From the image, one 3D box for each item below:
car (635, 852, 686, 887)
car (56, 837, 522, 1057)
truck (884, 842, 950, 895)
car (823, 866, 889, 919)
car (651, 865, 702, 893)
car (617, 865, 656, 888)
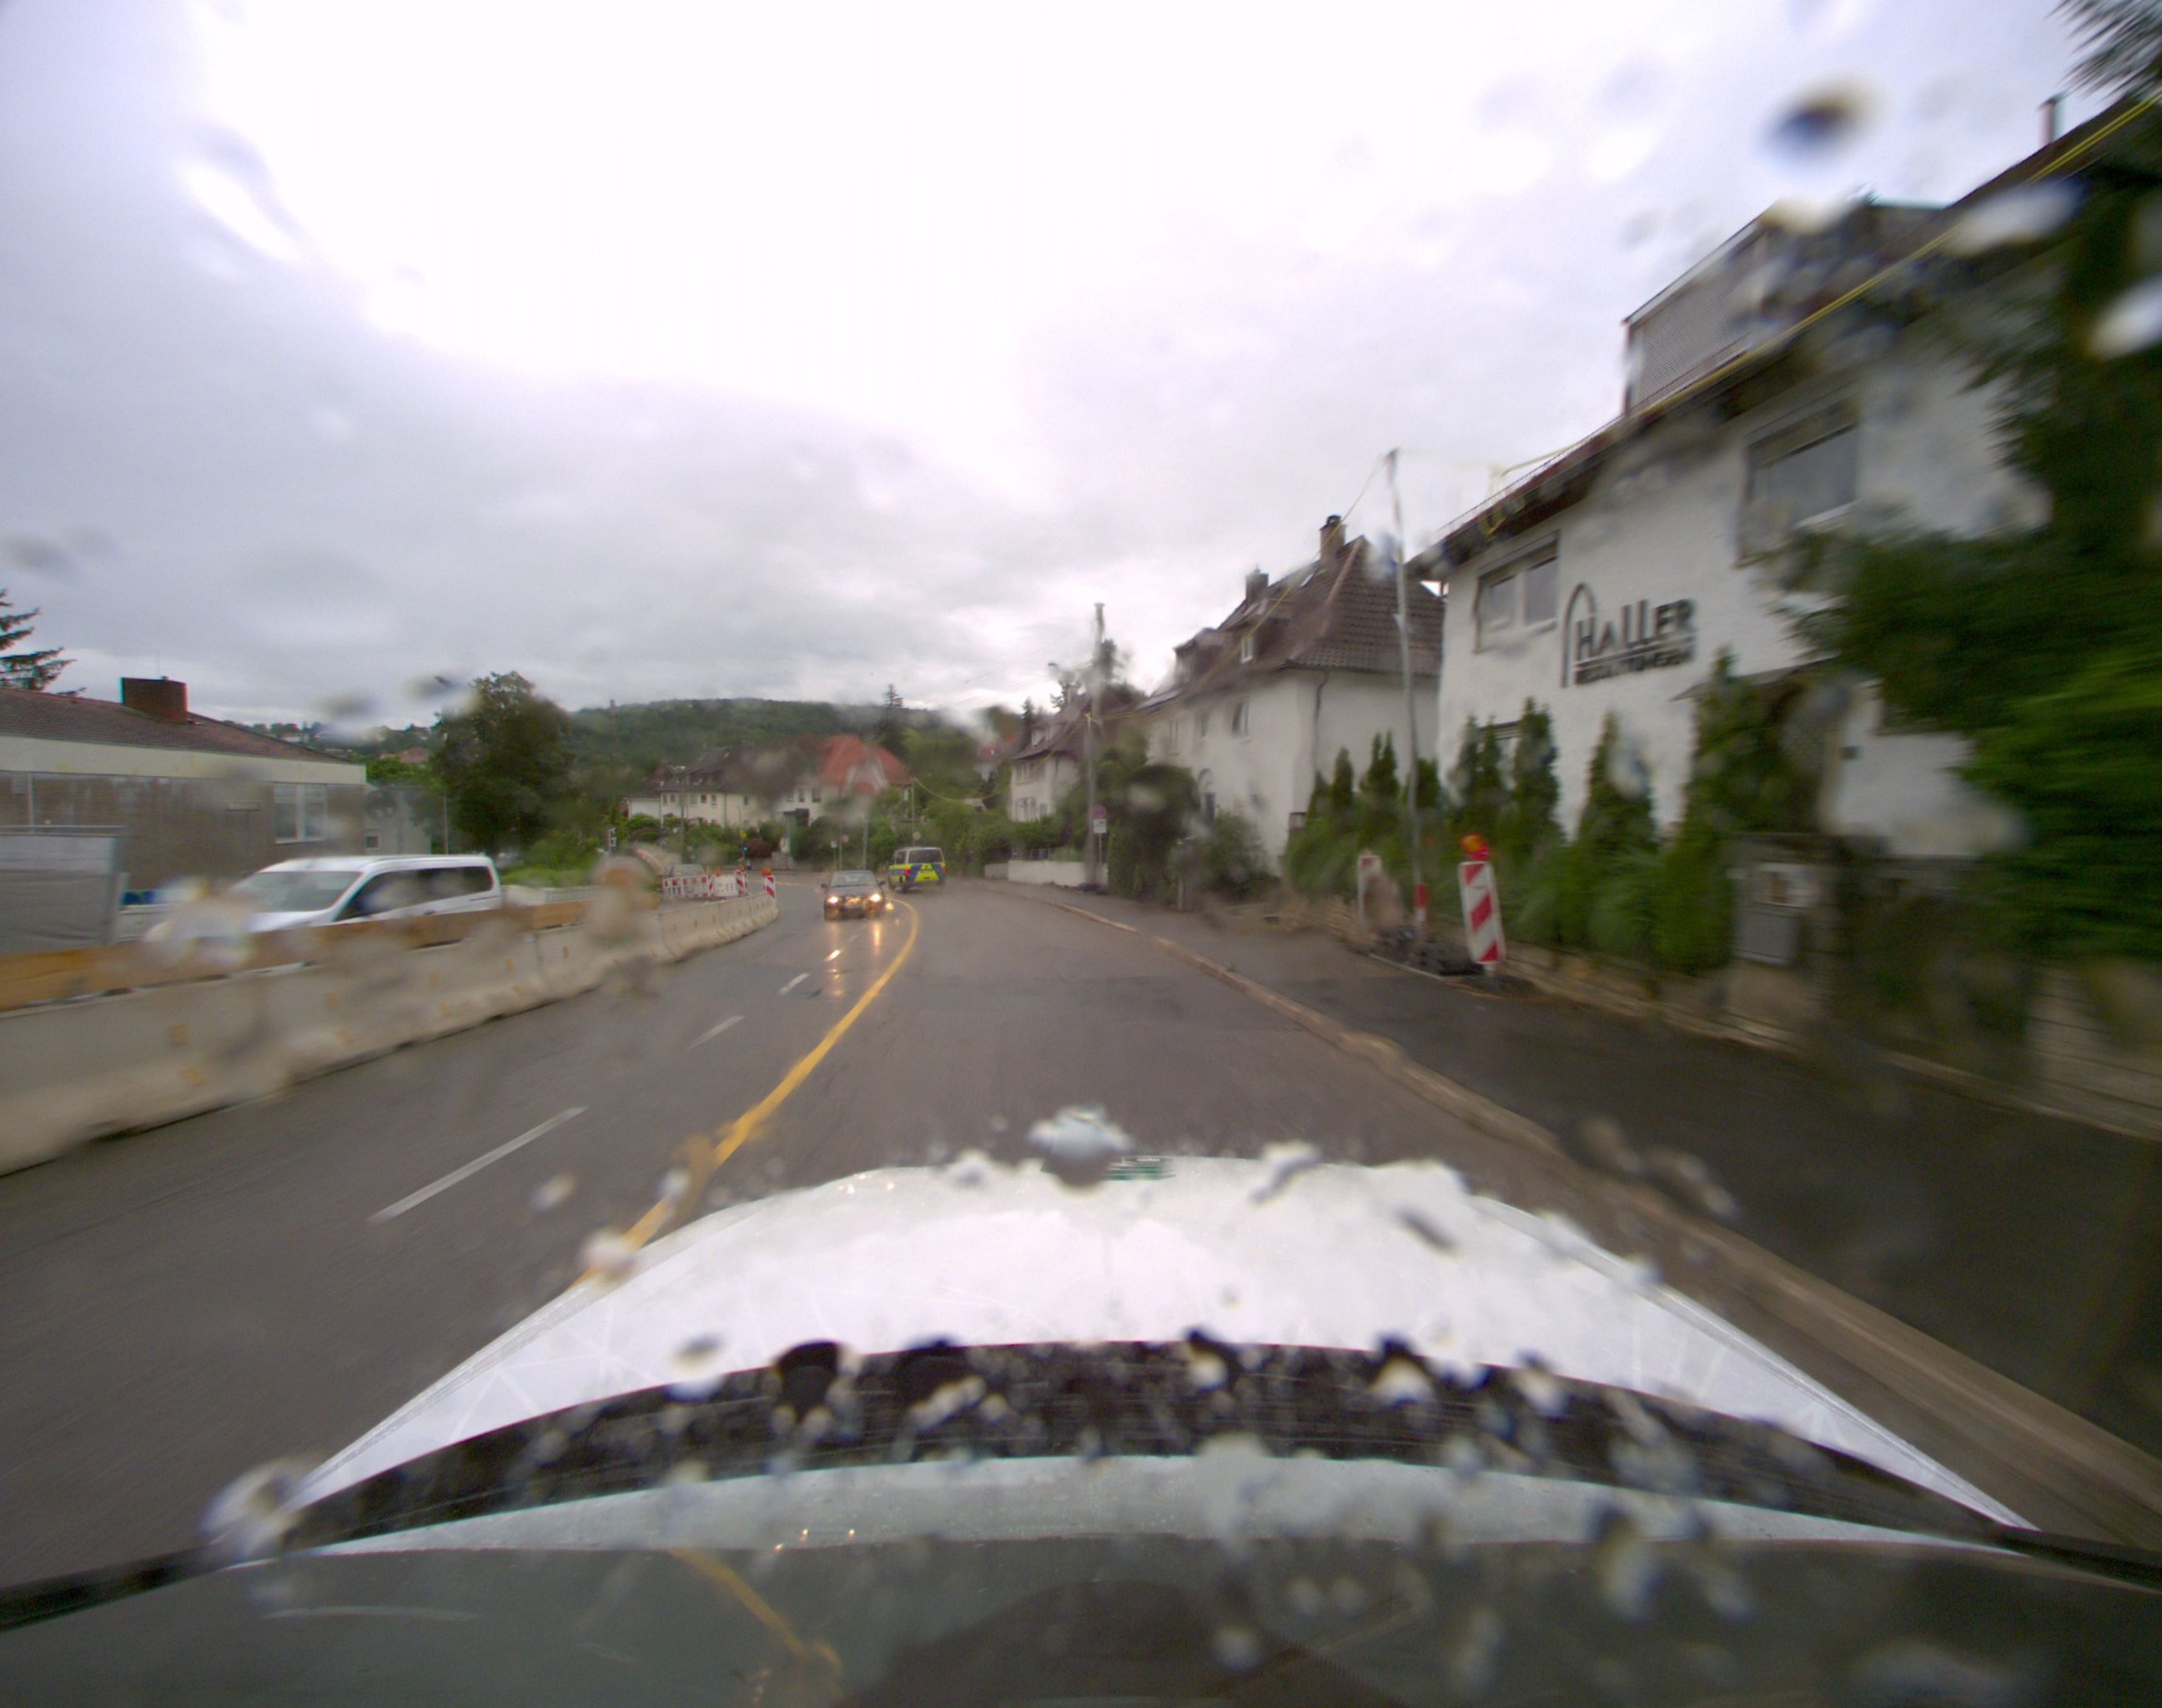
[{"bbox_3d":[-26.477,0.974,51.178,2.009,2.013,5.084,-2,0,-37],"label":"car"},{"bbox_3d":[-10.704,1.021,11.765,1.990,2.012,4.801,-6,6,-5],"label":"car"},{"bbox_3d":[-7.491,0.573,36.863,2.002,2.013,4.699,-2,3,-23],"label":"truck"},{"bbox_3d":[-6.687,1.099,24.310,1.651,1.311,4.241,-4,-1,-15],"label":"car"},{"bbox_3d":[-22.906,1.388,46.077,1.861,1.464,3.725,-2,0,-37],"label":"car"},{"bbox_3d":[-31.395,1.576,57.493,1.861,1.464,3.725,-2,0,-37],"label":"car"}]
